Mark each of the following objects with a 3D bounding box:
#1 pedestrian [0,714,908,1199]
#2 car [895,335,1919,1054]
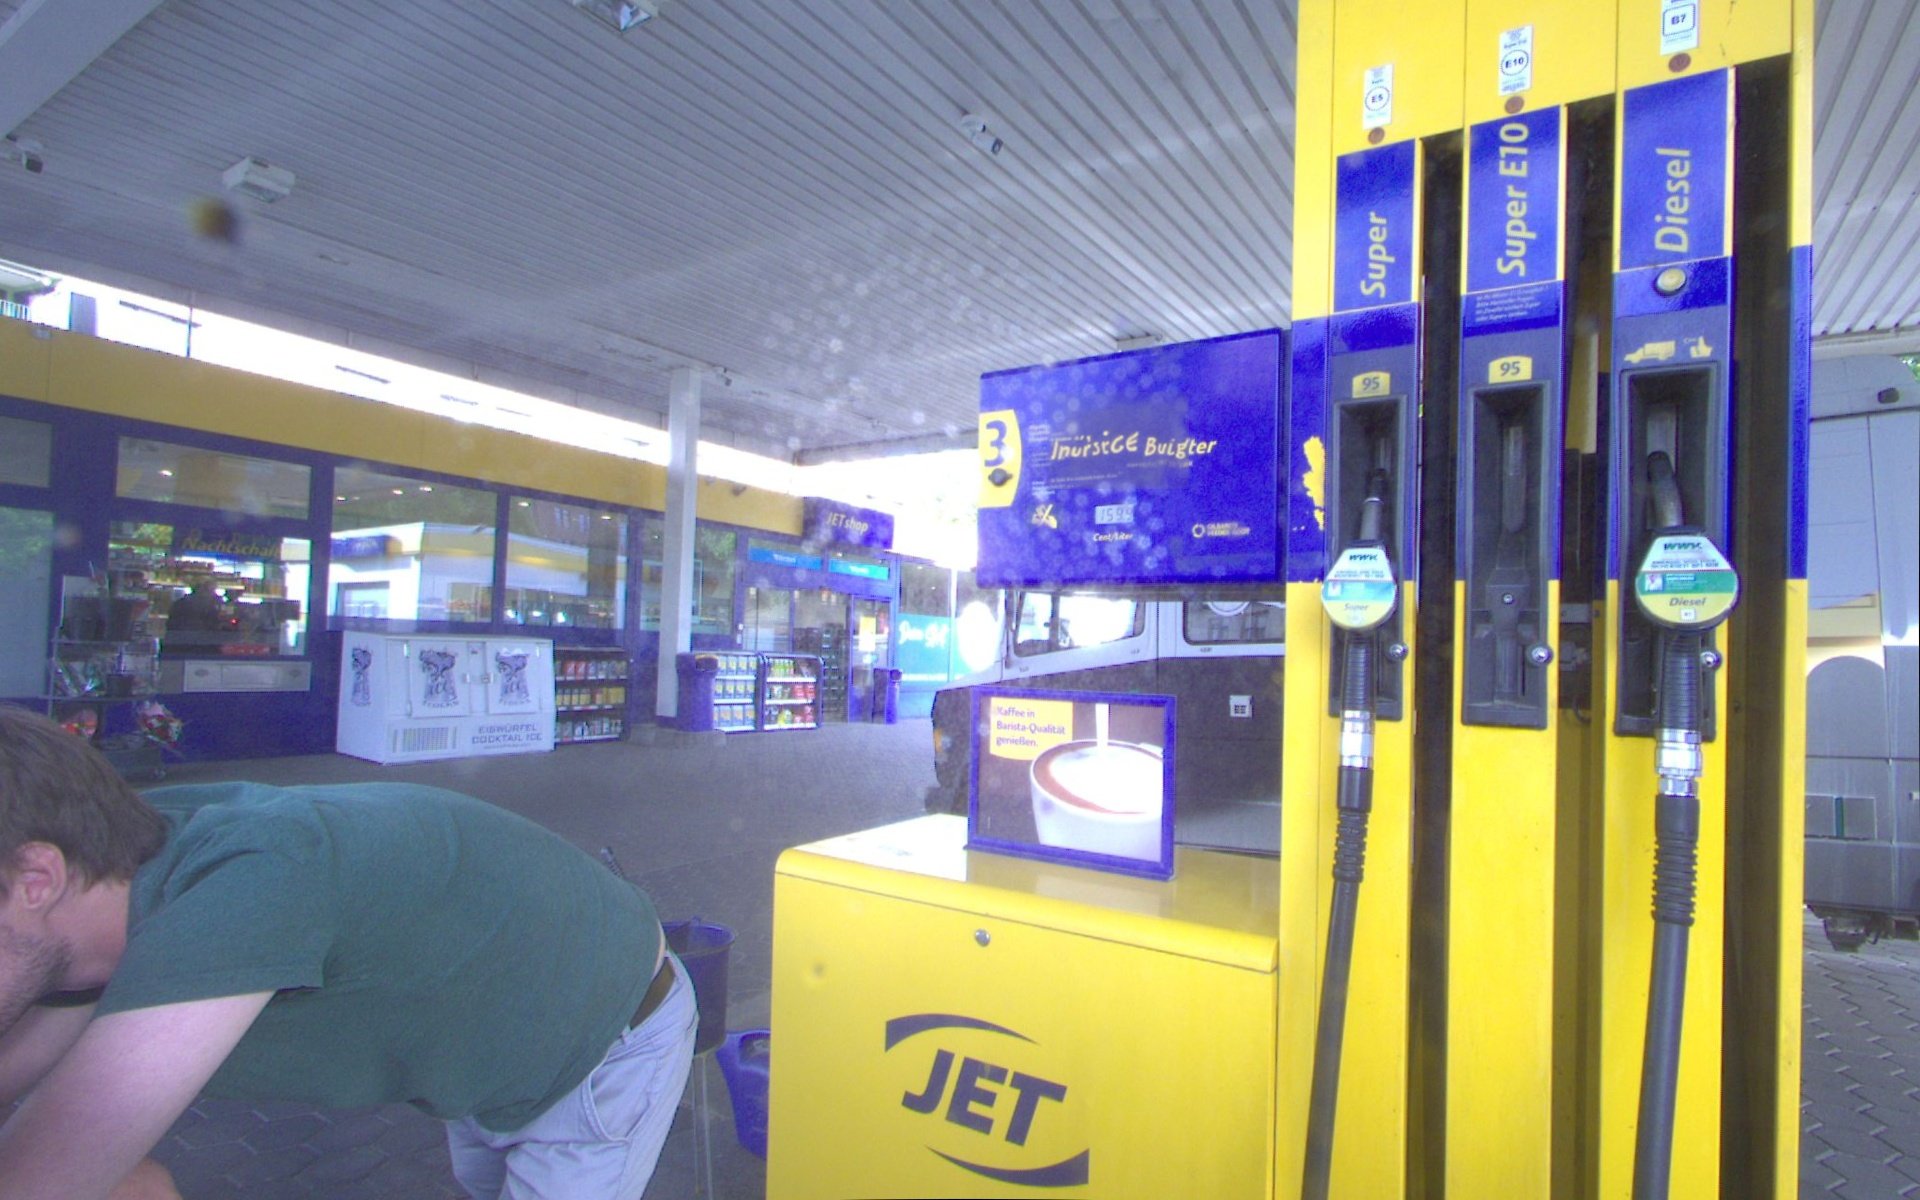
[{"bbox_3d":[-0.536,0.811,1.069,0.664,1.298,0.749,-1,-1,31],"label":"pedestrian"},{"bbox_3d":[2.387,0.416,6.014,5.219,2.724,2.250,0,-3,34],"label":"car"}]
